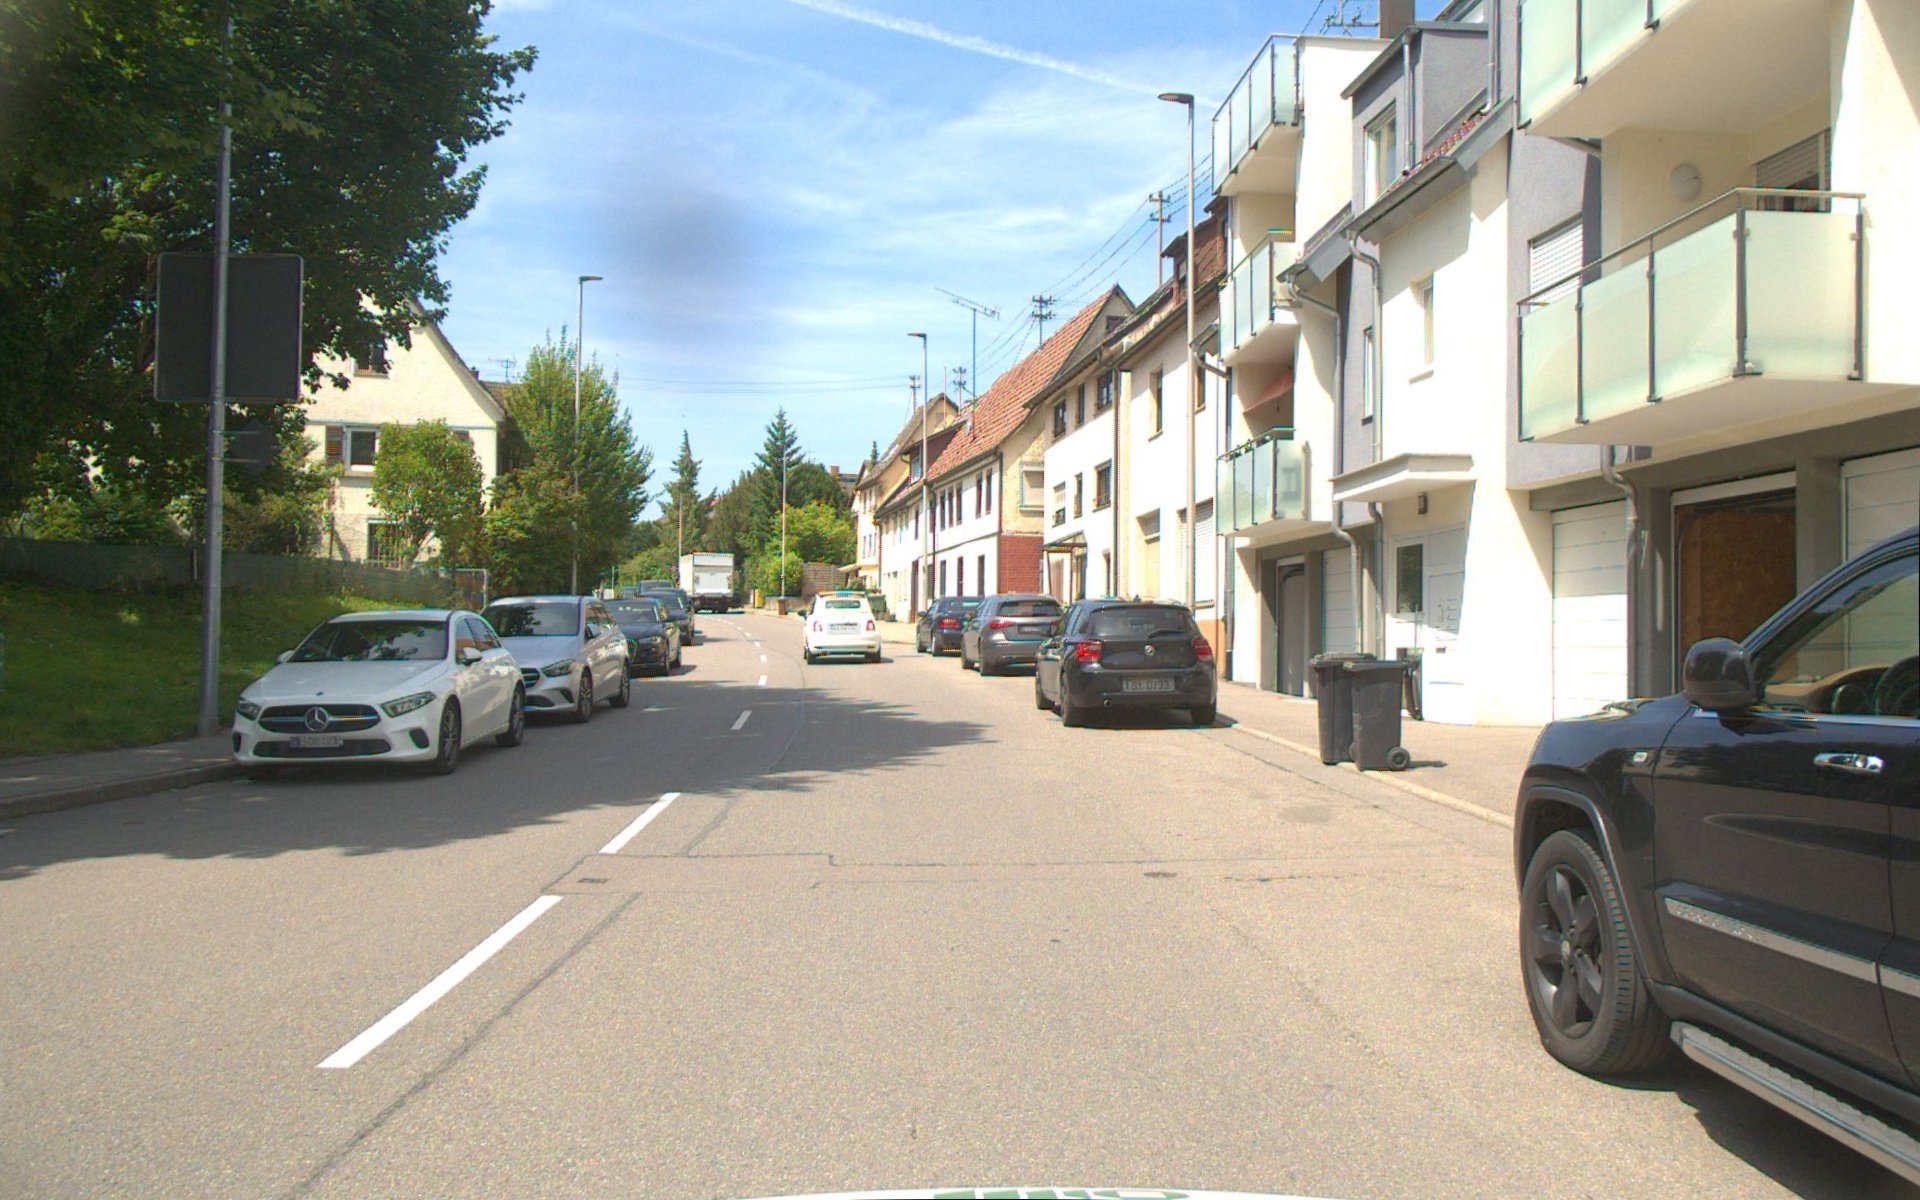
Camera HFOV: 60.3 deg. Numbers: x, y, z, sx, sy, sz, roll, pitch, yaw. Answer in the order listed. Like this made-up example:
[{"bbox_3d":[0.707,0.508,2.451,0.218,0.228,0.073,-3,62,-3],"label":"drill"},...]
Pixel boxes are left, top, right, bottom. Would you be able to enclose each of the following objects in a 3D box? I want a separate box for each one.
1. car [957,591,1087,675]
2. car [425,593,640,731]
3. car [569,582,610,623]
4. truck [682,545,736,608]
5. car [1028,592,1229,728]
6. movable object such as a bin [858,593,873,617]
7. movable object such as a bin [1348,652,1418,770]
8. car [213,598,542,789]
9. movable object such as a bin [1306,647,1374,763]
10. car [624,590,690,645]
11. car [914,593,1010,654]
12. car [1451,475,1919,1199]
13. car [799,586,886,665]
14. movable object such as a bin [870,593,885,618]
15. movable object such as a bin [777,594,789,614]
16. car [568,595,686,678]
[{"bbox_3d":[1.075,0.556,31.002,1.760,1.427,4.405,-1,0,-7],"label":"car"},{"bbox_3d":[-5.406,0.716,21.462,1.736,1.554,4.221,-2,0,-1],"label":"car"},{"bbox_3d":[-18.656,0.101,83.260,1.859,1.971,4.967,-1,0,-14],"label":"car"},{"bbox_3d":[-16.026,-1.452,105.341,3.014,3.840,7.844,0,0,-12],"label":"truck"},{"bbox_3d":[1.916,0.654,20.050,1.761,1.449,4.287,-1,0,-3],"label":"car"},{"bbox_3d":[-4.189,0.214,73.063,0.537,1.051,0.550,-3,1,-11],"label":"movable object such as a bin"},{"bbox_3d":[3.547,0.922,13.894,0.422,0.941,0.491,-1,0,-4],"label":"movable object such as a bin"},{"bbox_3d":[-5.322,0.759,15.733,1.720,1.492,4.360,-2,0,-3],"label":"car"},{"bbox_3d":[3.347,0.919,14.602,0.422,0.973,0.517,-2,0,-4],"label":"movable object such as a bin"},{"bbox_3d":[-8.622,0.460,47.262,1.756,1.489,4.701,-1,0,-10],"label":"car"},{"bbox_3d":[-0.016,0.532,39.666,1.635,1.376,4.177,0,0,-9],"label":"car"},{"bbox_3d":[2.943,0.610,3.880,1.915,1.746,4.713,0,0,-4],"label":"car"},{"bbox_3d":[-2.656,0.525,36.766,1.692,1.587,3.994,-2,0,-7],"label":"car"},{"bbox_3d":[-3.553,0.248,71.202,0.537,1.051,0.550,-3,1,-11],"label":"movable object such as a bin"},{"bbox_3d":[-9.440,0.218,88.261,0.484,1.051,0.549,-3,1,9],"label":"movable object such as a bin"},{"bbox_3d":[-6.562,0.668,33.059,1.769,1.448,4.923,-1,1,-5],"label":"car"}]
